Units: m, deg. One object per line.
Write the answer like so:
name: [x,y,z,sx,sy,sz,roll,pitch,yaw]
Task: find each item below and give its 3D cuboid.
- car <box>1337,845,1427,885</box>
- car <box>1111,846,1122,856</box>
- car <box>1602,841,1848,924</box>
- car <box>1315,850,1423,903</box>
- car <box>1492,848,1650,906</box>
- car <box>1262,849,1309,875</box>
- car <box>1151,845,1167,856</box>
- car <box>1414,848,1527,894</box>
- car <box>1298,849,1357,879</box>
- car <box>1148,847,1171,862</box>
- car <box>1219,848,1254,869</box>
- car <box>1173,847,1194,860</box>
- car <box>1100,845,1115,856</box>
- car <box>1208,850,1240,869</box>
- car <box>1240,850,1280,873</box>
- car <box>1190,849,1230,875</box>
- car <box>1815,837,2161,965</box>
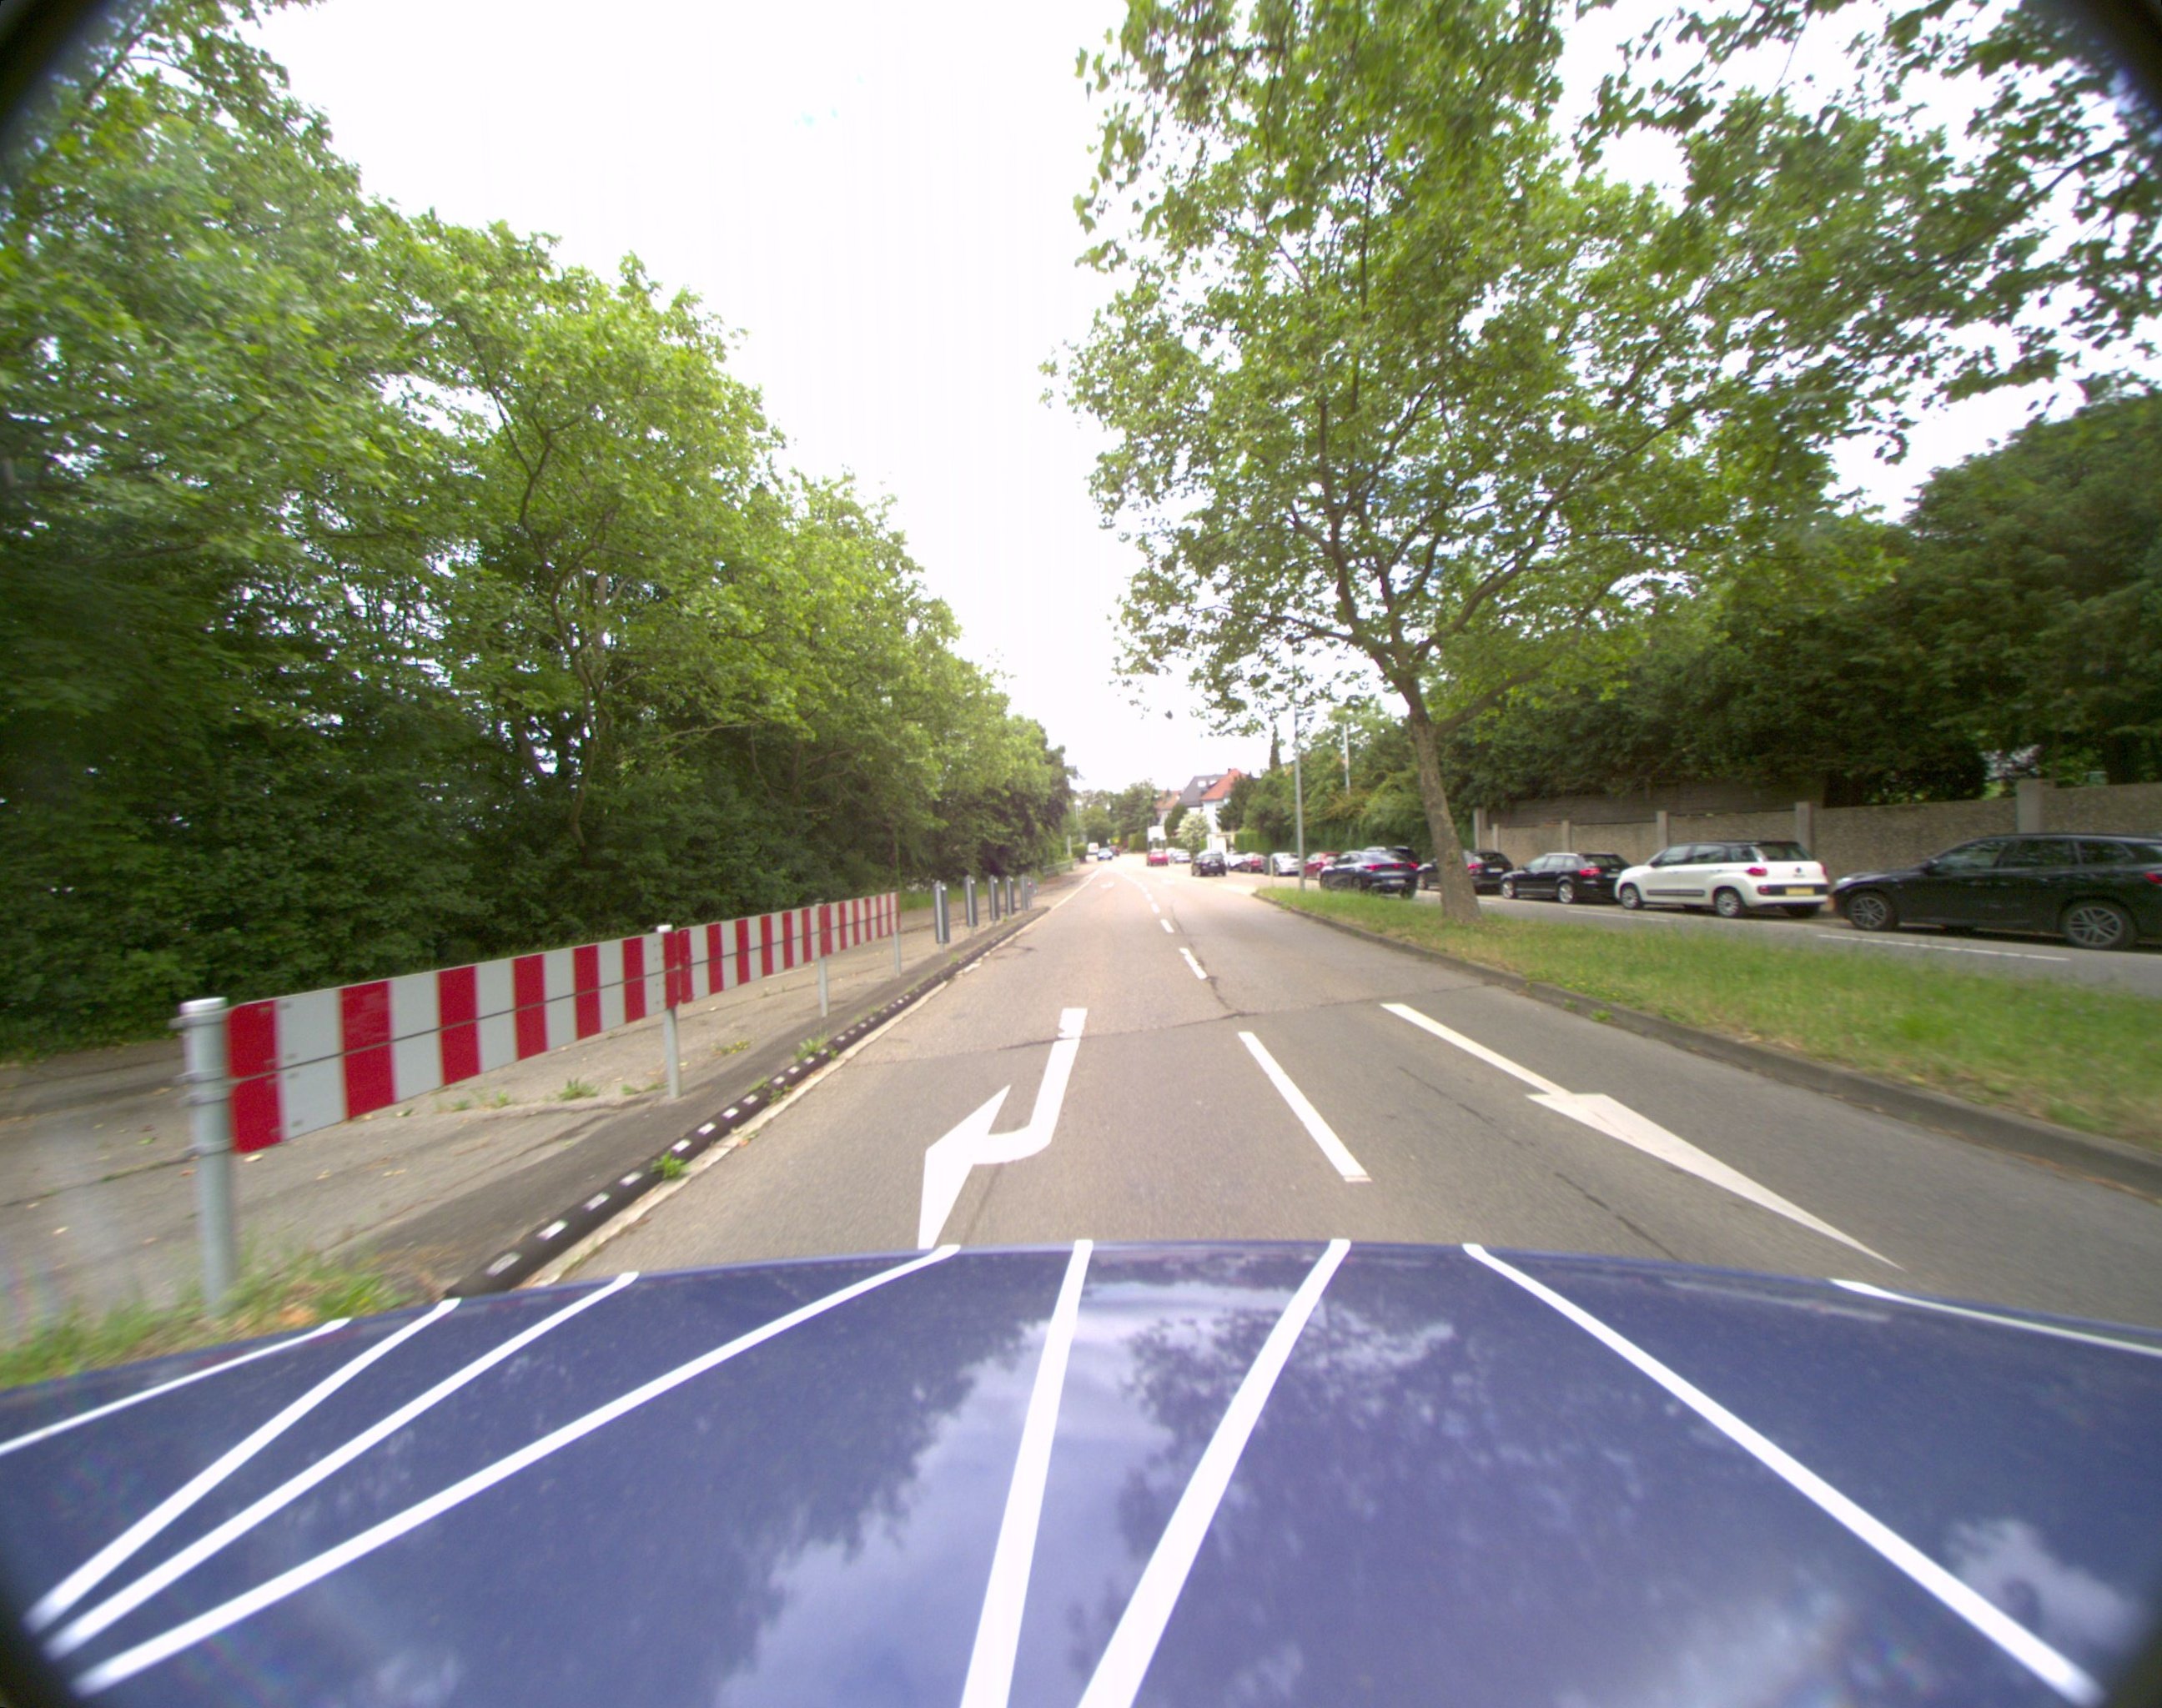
car: [13.197,0.470,33.599,1.797,1.594,4.035,-2,0,-11]
car: [5.710,-0.443,122.564,1.671,1.536,4.000,-2,0,3]
car: [14.147,0.559,17.080,1.796,1.606,4.216,-1,0,-4]
car: [9.500,0.695,25.501,1.796,1.606,4.586,-1,0,-2]
car: [13.888,0.592,21.848,1.796,1.496,4.037,-1,0,-3]
car: [12.609,0.480,47.102,1.686,1.496,3.830,-1,0,-3]
car: [10.043,-0.482,98.005,1.685,1.321,3.832,-3,0,1]
car: [13.740,0.556,27.093,1.796,1.496,4.037,-1,0,-3]
car: [12.982,0.484,40.221,1.686,1.496,3.830,-1,0,-3]
car: [7.824,0.049,76.095,1.686,1.496,3.830,-1,0,-3]
car: [11.952,0.336,58.590,1.686,1.496,3.830,-1,0,-3]
car: [10.907,-0.052,80.979,1.685,1.321,3.832,-3,0,1]
car: [3.636,-0.493,104.793,1.796,1.420,4.146,-1,0,-2]
car: [11.765,0.415,62.673,1.686,1.496,3.830,-1,0,-3]
car: [12.442,0.503,52.983,1.686,1.496,3.830,-1,0,-3]
car: [8.466,0.508,50.236,1.844,1.606,3.913,-1,0,-2]
car: [14.284,0.581,11.499,1.797,1.606,4.459,-1,0,-6]
